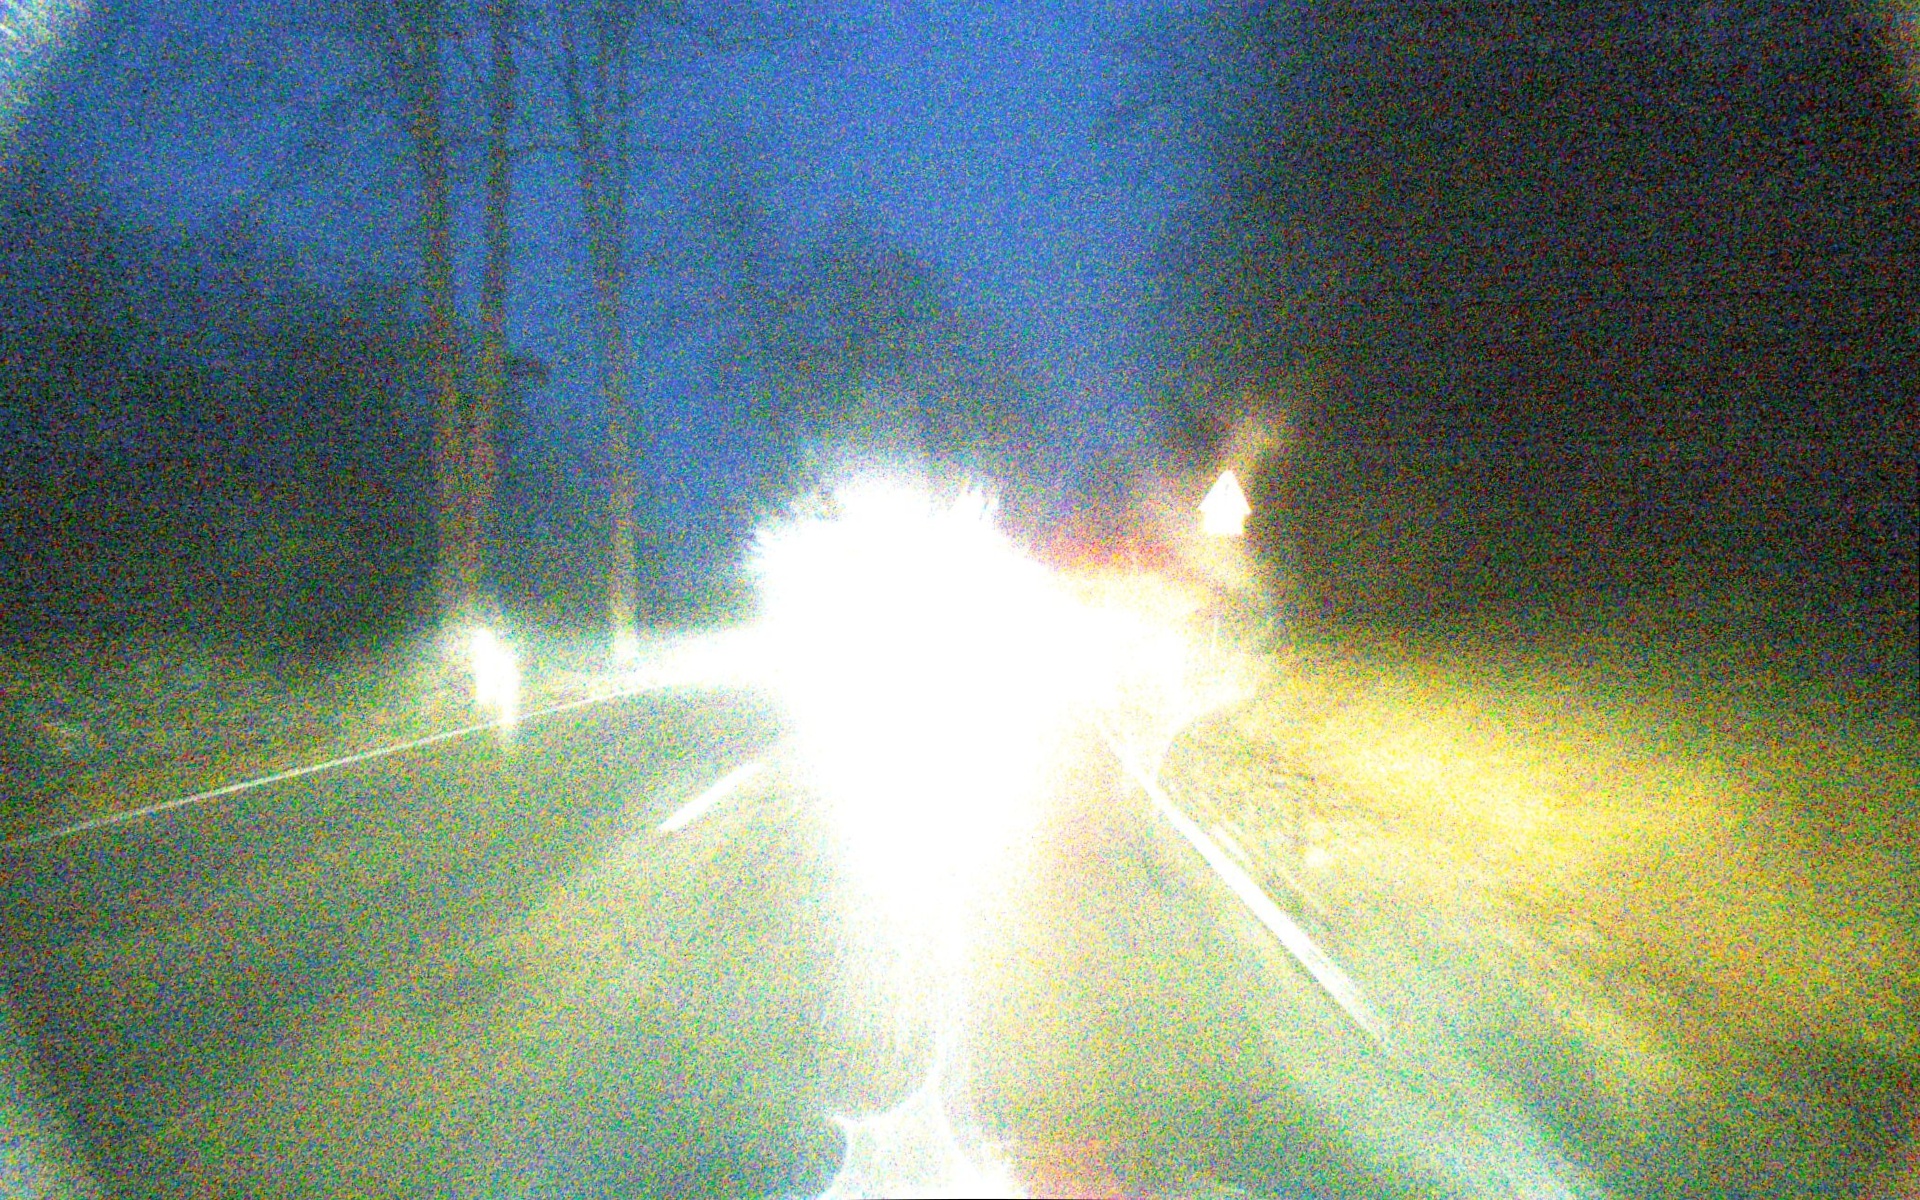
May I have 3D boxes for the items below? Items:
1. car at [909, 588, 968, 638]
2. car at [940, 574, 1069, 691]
[{"bbox_3d":[-0.745,0.440,59.836,1.804,1.750,3.962,0,1,4],"label":"car"},{"bbox_3d":[0.707,0.519,29.113,1.954,1.838,3.916,-2,0,-2],"label":"car"}]
